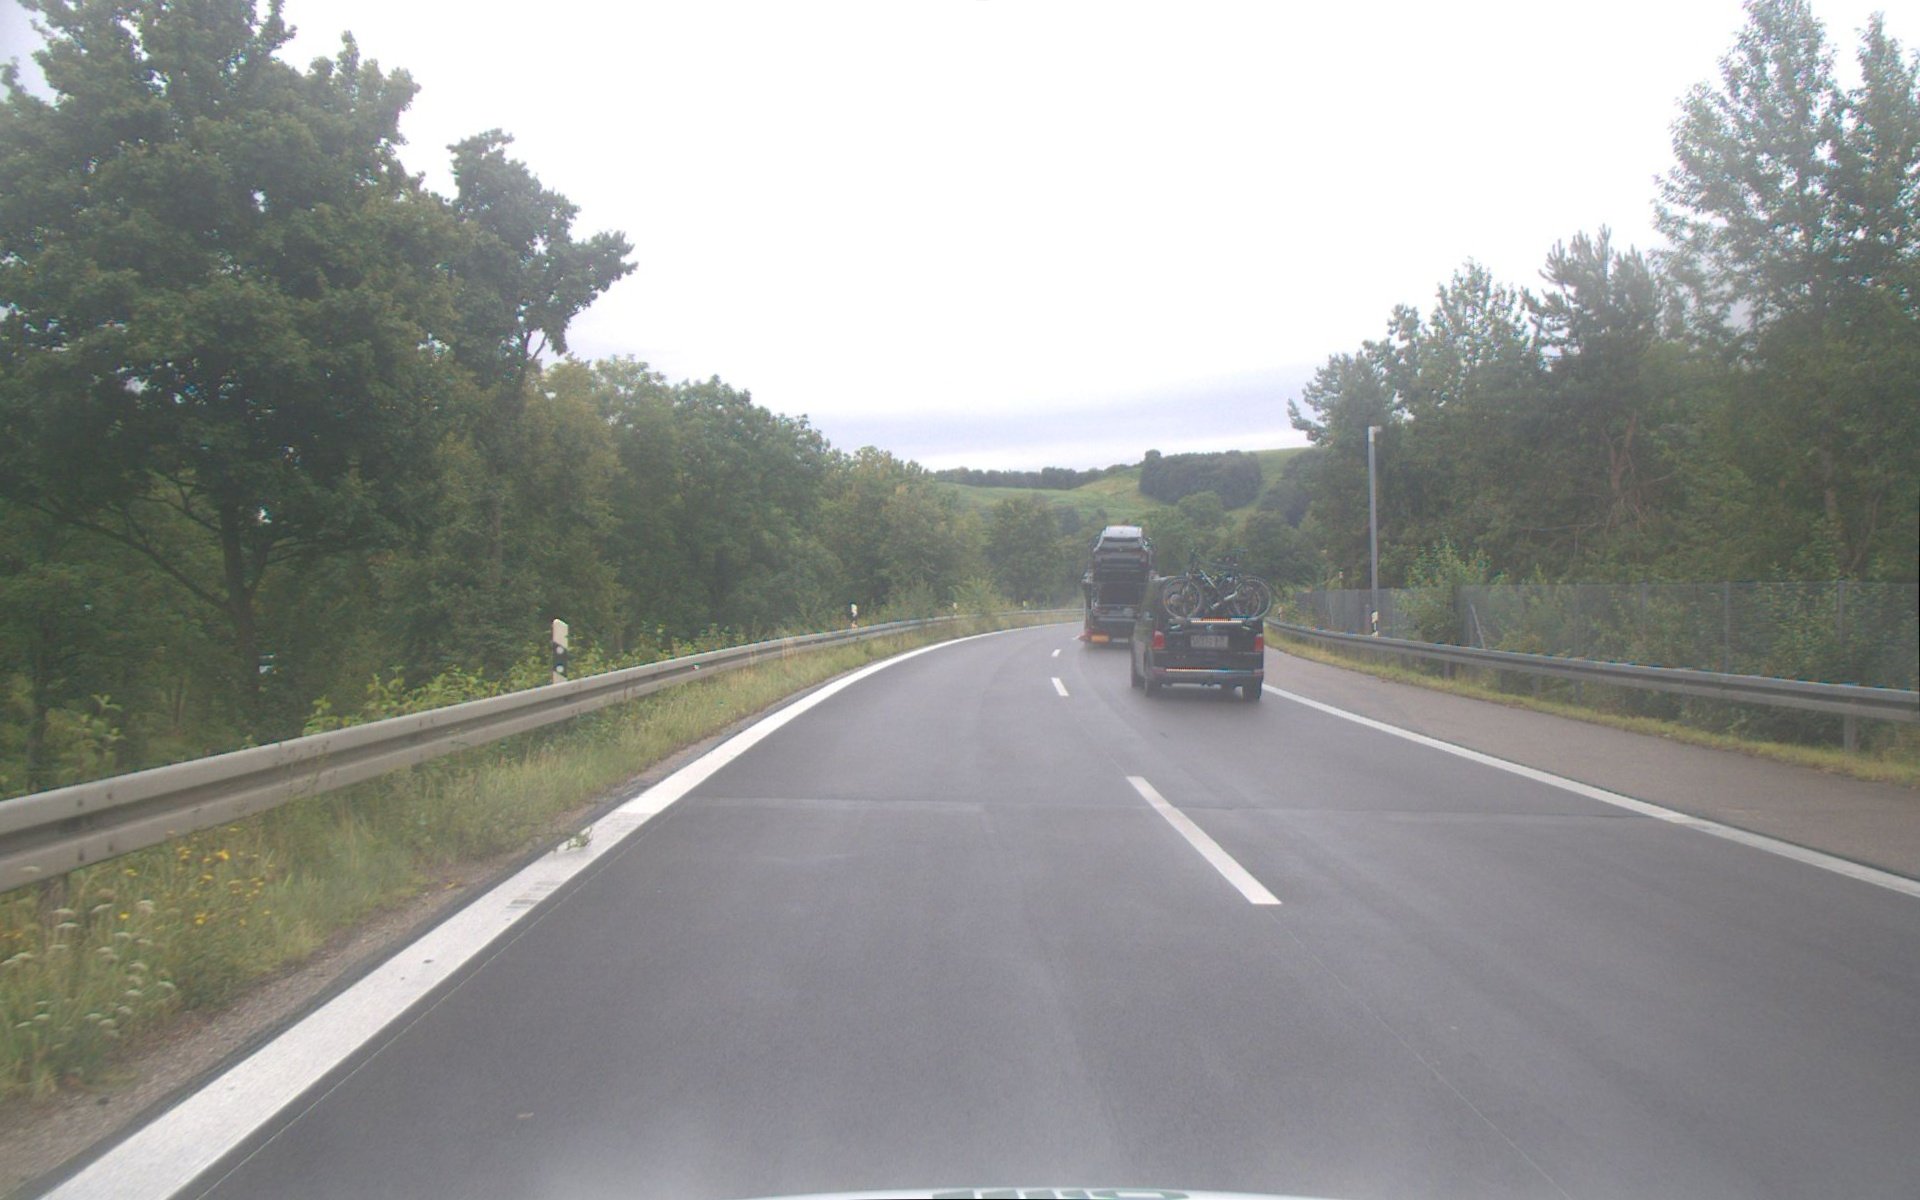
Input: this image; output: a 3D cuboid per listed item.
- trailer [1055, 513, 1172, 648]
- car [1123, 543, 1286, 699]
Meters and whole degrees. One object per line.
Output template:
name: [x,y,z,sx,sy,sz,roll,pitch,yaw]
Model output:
trailer: [5.089,-0.645,57.157,3.377,4.069,12.031,2,0,3]
car: [3.947,0.283,27.726,2.066,2.304,5.898,1,1,2]
